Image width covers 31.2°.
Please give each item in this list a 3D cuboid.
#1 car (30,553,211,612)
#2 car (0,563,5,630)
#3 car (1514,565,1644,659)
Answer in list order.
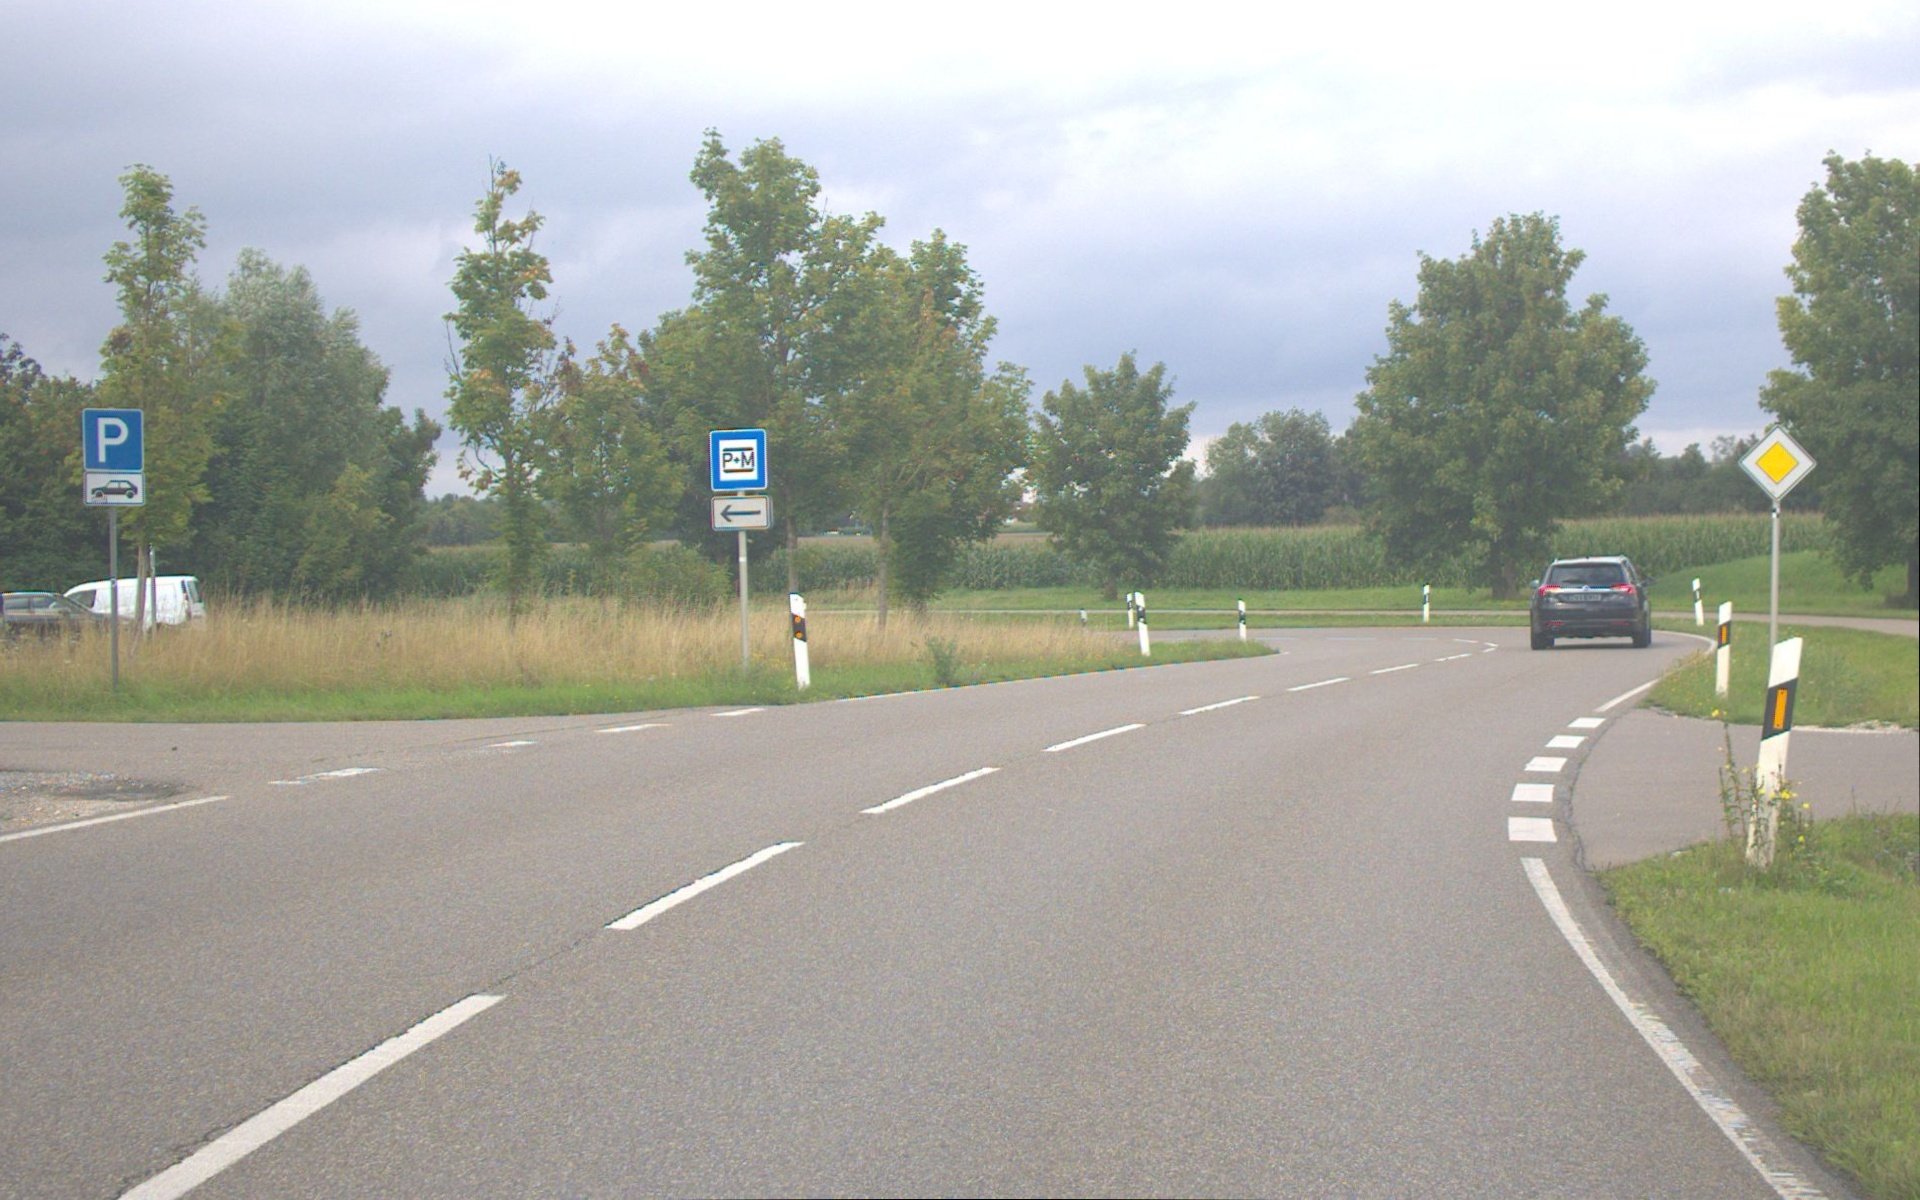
[{"bbox_3d":[-20.042,-0.424,82.163,3.986,1.375,1.476,0,1,-4],"label":"car"},{"bbox_3d":[-21.795,-0.062,70.751,3.986,1.375,1.476,-1,1,-9],"label":"car"},{"bbox_3d":[9.810,0.163,54.685,1.842,1.412,3.999,0,1,8],"label":"car"}]
